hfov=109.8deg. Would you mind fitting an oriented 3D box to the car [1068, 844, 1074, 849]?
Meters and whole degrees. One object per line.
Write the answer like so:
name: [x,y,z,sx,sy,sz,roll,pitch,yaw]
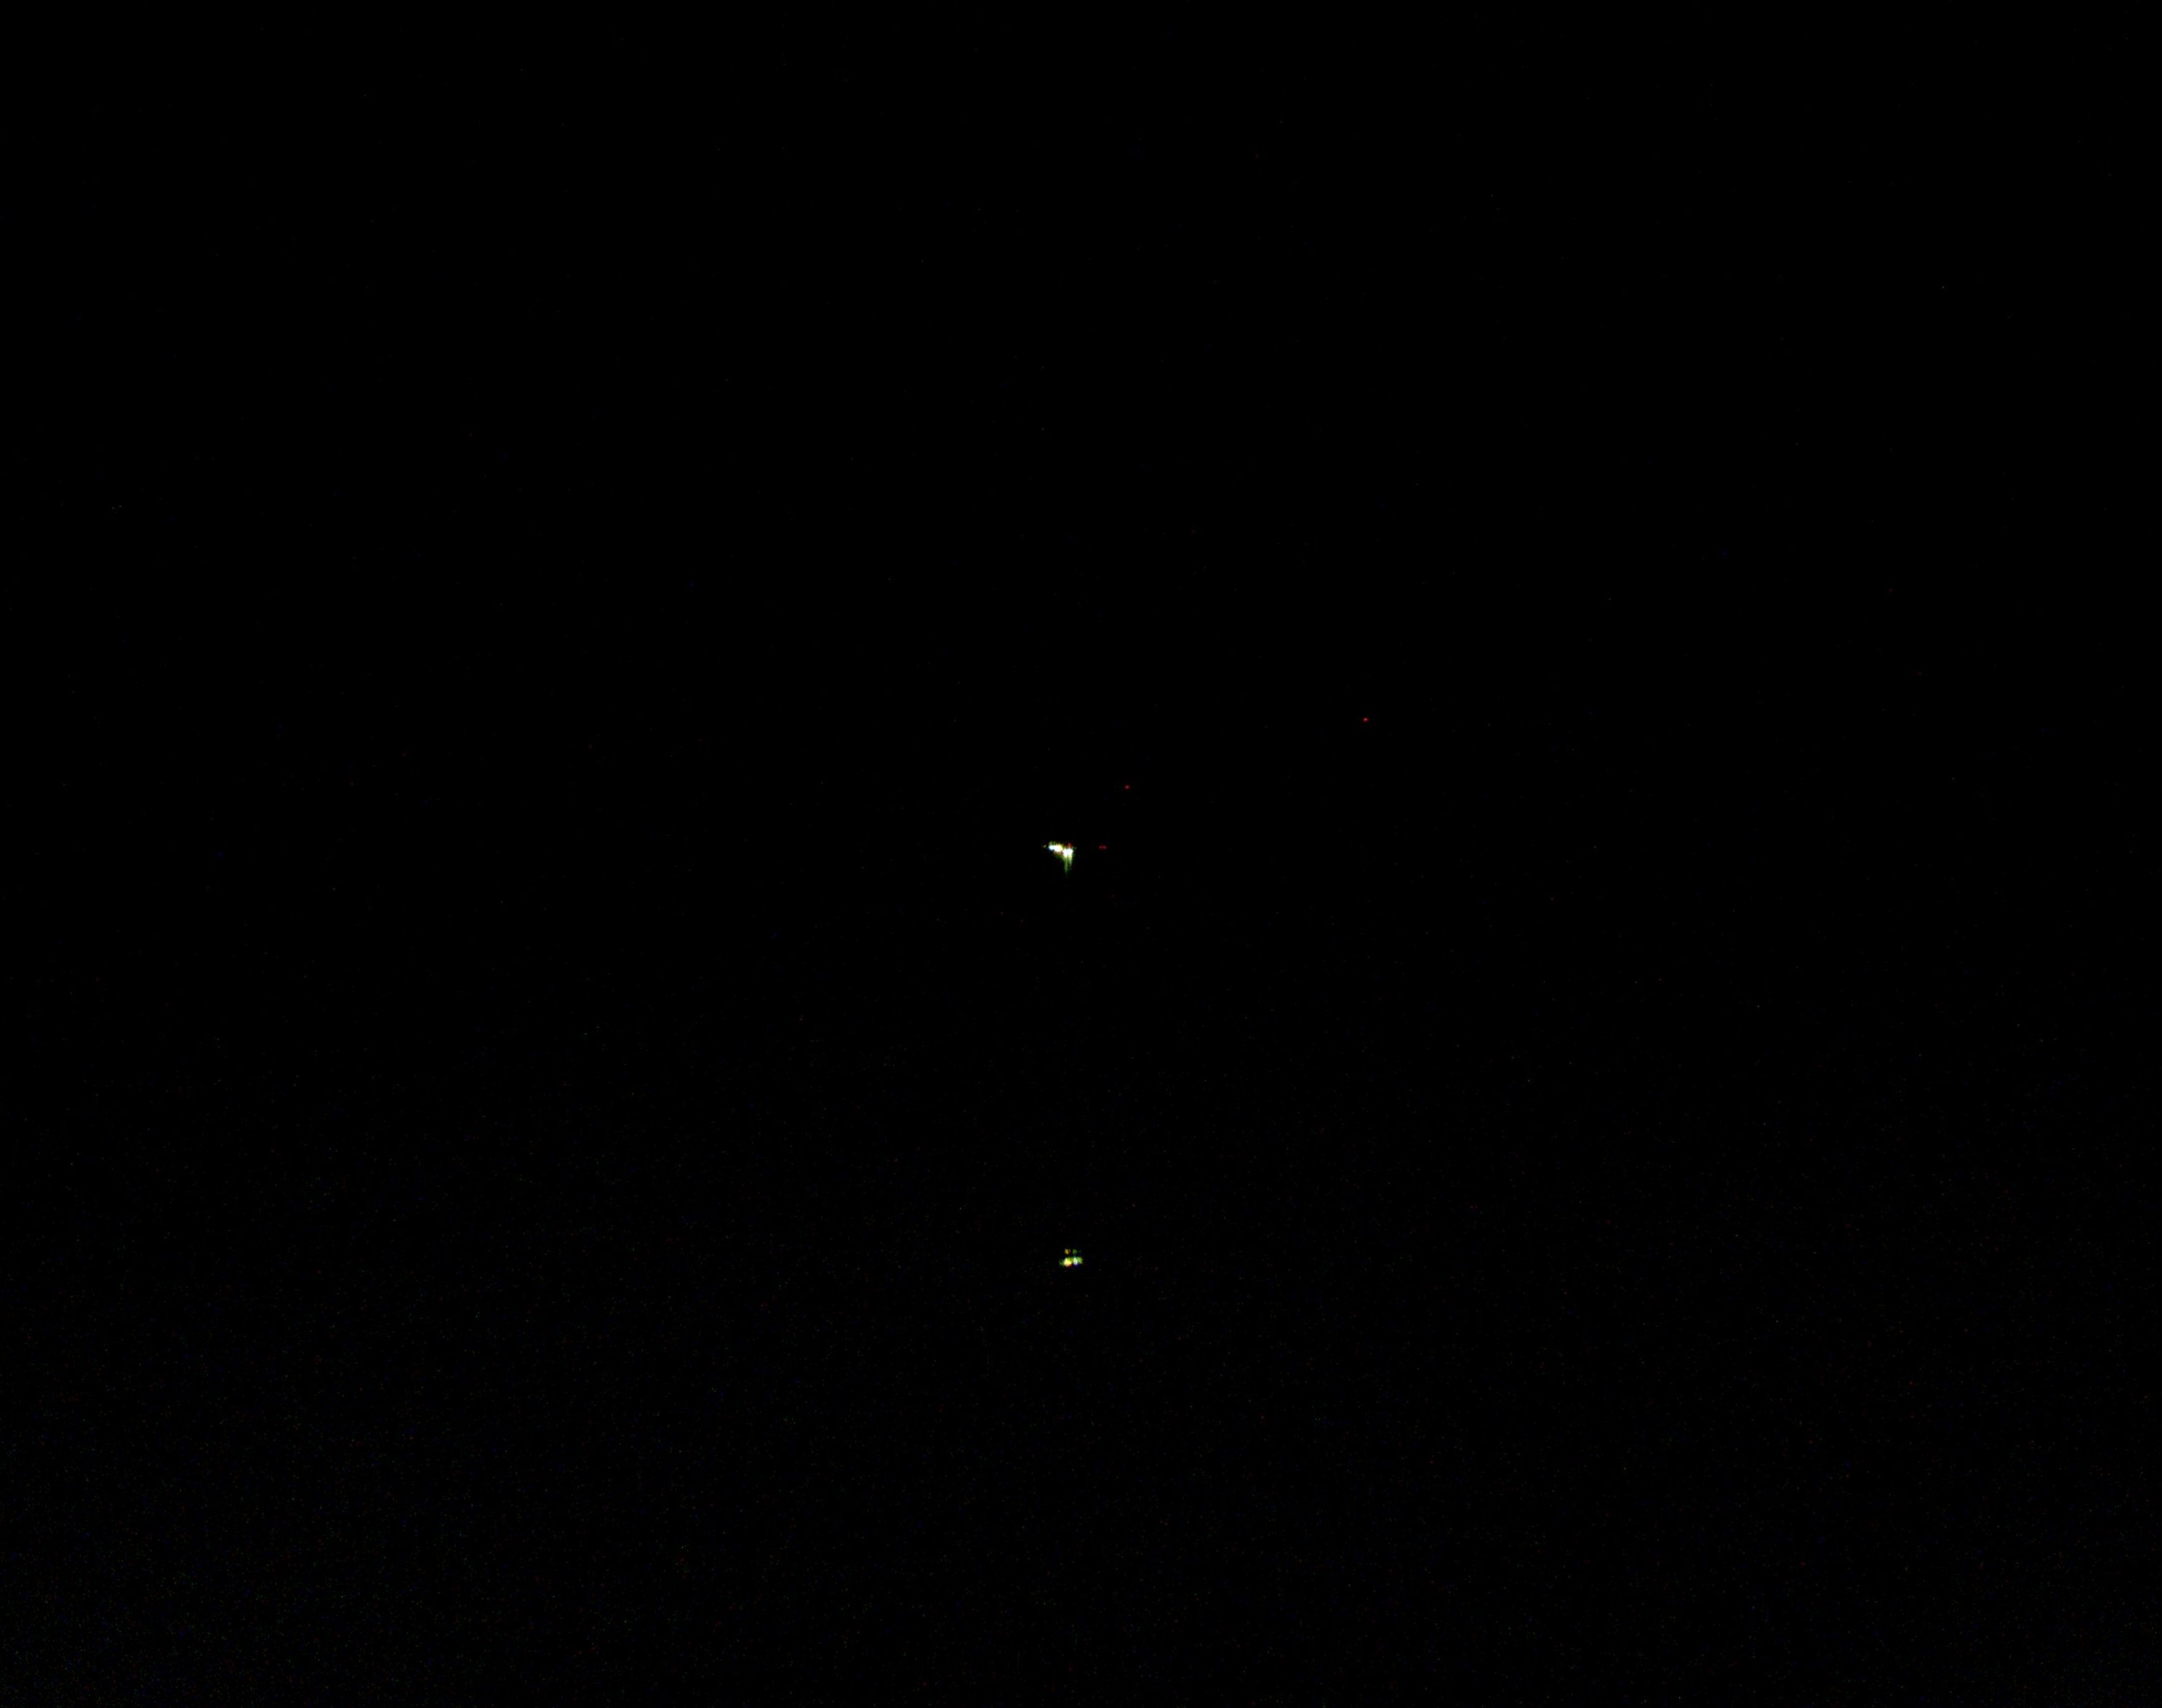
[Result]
car: [-3.311,-2.459,247.396,1.860,1.609,3.998,-2,1,-3]
